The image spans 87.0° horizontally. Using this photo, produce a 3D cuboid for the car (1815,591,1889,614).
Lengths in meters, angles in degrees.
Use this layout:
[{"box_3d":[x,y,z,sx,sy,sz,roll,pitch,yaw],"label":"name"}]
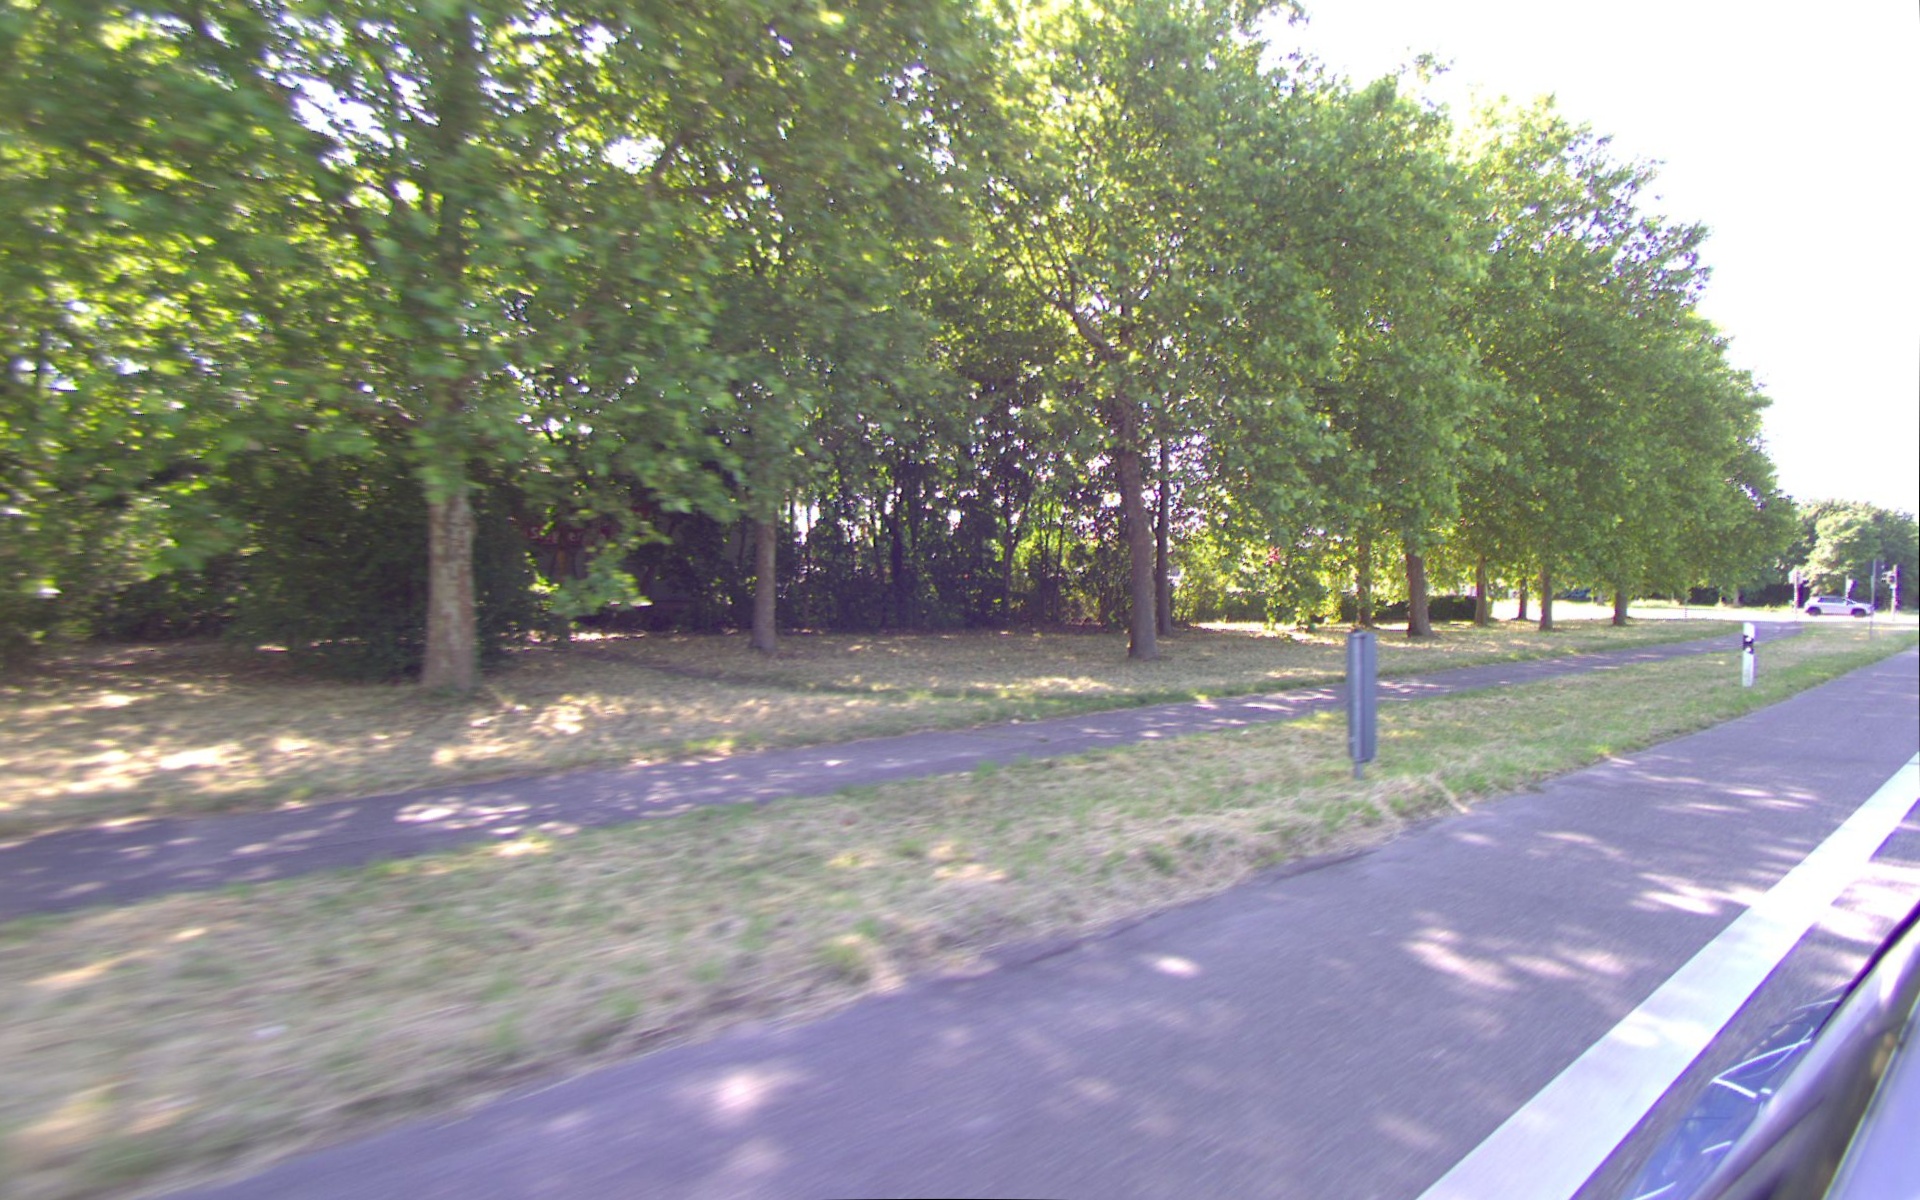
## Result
[{"box_3d":[66.964,0.167,75.996,1.714,1.583,4.056,0,1,-43],"label":"car"}]
